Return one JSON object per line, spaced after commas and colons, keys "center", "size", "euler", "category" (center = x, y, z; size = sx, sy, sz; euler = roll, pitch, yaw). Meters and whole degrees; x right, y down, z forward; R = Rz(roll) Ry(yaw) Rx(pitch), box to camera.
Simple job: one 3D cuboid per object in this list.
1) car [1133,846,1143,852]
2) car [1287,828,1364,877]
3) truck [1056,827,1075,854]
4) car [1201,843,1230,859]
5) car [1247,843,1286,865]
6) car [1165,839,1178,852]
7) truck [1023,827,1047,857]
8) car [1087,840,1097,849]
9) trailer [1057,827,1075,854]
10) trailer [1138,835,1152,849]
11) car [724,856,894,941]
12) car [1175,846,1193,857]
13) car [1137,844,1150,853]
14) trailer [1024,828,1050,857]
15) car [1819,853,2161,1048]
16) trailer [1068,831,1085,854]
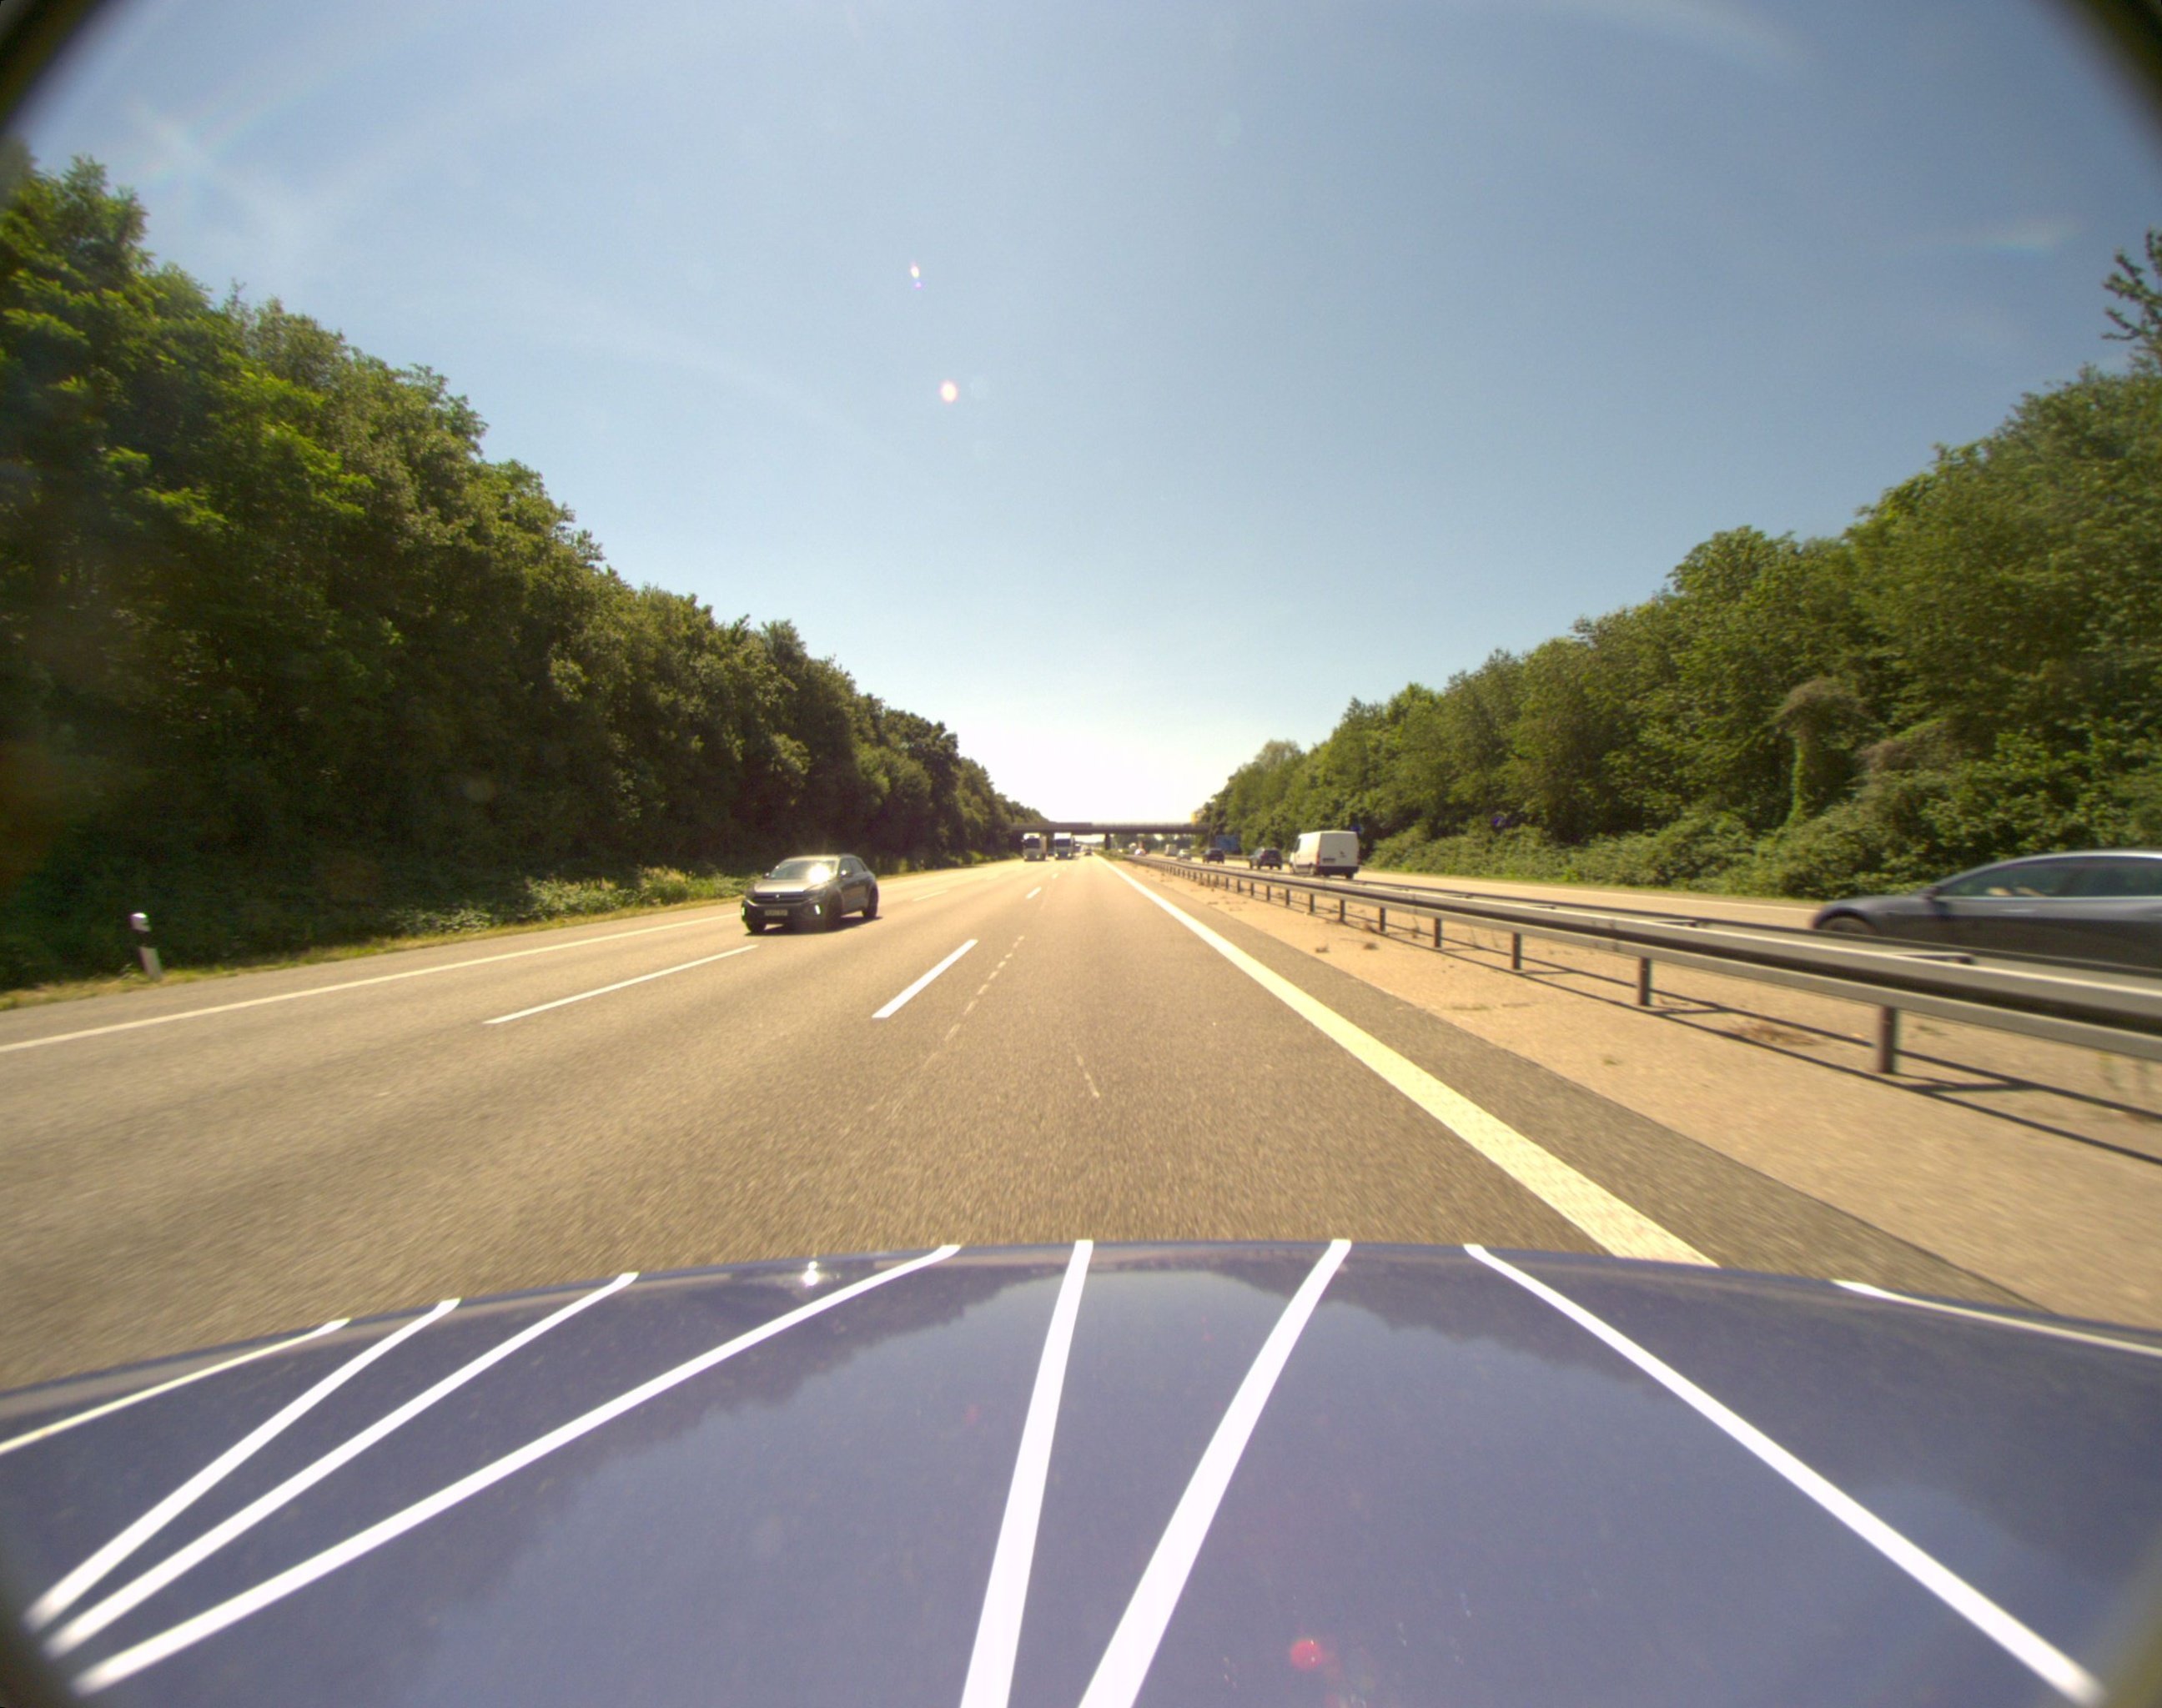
{"center": [12.164, -1.093, 162.517], "size": [1.843, 1.375, 4.427], "euler": [0, 1, 1], "category": "car"}
{"center": [11.988, -0.109, 37.696], "size": [2.092, 2.275, 5.276], "euler": [0, 1, 0], "category": "car"}
{"center": [-2.309, -2.044, 116.603], "size": [2.684, 4.046, 6.047], "euler": [-2, 1, 0], "category": "truck"}
{"center": [14.628, -0.351, 83.130], "size": [2.280, 1.641, 4.927], "euler": [1, 1, 0], "category": "car"}
{"center": [14.200, -0.032, 58.435], "size": [1.825, 1.621, 4.797], "euler": [1, 1, 0], "category": "car"}
{"center": [18.924, -1.825, 159.749], "size": [2.092, 2.538, 6.226], "euler": [0, 1, 1], "category": "car"}
{"center": [-6.592, -1.686, 110.390], "size": [3.055, 4.191, 6.047], "euler": [-2, 1, 0], "category": "truck"}
{"center": [2.497, -2.068, 170.343], "size": [2.073, 1.959, 5.108], "euler": [0, 1, -1], "category": "car"}
{"center": [-2.367, -2.150, 123.720], "size": [2.684, 4.046, 13.833], "euler": [-2, 1, 0], "category": "trailer"}
{"center": [19.727, -3.713, 235.864], "size": [3.225, 4.036, 12.739], "euler": [0, 1, 0], "category": "trailer"}
{"center": [-5.792, 0.856, 16.929], "size": [1.904, 1.523, 4.760], "euler": [-2, 1, 2], "category": "car"}
{"center": [14.457, -0.401, 106.459], "size": [1.825, 1.515, 4.822], "euler": [0, 1, 0], "category": "car"}
{"center": [10.691, -0.922, 131.000], "size": [1.825, 1.515, 4.822], "euler": [0, 1, 0], "category": "car"}
{"center": [-6.635, -1.727, 116.902], "size": [3.047, 4.200, 13.833], "euler": [-2, 1, 0], "category": "trailer"}
{"center": [9.329, 0.763, 6.374], "size": [1.810, 1.472, 4.566], "euler": [0, 1, 0], "category": "car"}
{"center": [-0.965, -2.141, 146.797], "size": [2.886, 4.046, 13.831], "euler": [-2, 1, -1], "category": "trailer"}
